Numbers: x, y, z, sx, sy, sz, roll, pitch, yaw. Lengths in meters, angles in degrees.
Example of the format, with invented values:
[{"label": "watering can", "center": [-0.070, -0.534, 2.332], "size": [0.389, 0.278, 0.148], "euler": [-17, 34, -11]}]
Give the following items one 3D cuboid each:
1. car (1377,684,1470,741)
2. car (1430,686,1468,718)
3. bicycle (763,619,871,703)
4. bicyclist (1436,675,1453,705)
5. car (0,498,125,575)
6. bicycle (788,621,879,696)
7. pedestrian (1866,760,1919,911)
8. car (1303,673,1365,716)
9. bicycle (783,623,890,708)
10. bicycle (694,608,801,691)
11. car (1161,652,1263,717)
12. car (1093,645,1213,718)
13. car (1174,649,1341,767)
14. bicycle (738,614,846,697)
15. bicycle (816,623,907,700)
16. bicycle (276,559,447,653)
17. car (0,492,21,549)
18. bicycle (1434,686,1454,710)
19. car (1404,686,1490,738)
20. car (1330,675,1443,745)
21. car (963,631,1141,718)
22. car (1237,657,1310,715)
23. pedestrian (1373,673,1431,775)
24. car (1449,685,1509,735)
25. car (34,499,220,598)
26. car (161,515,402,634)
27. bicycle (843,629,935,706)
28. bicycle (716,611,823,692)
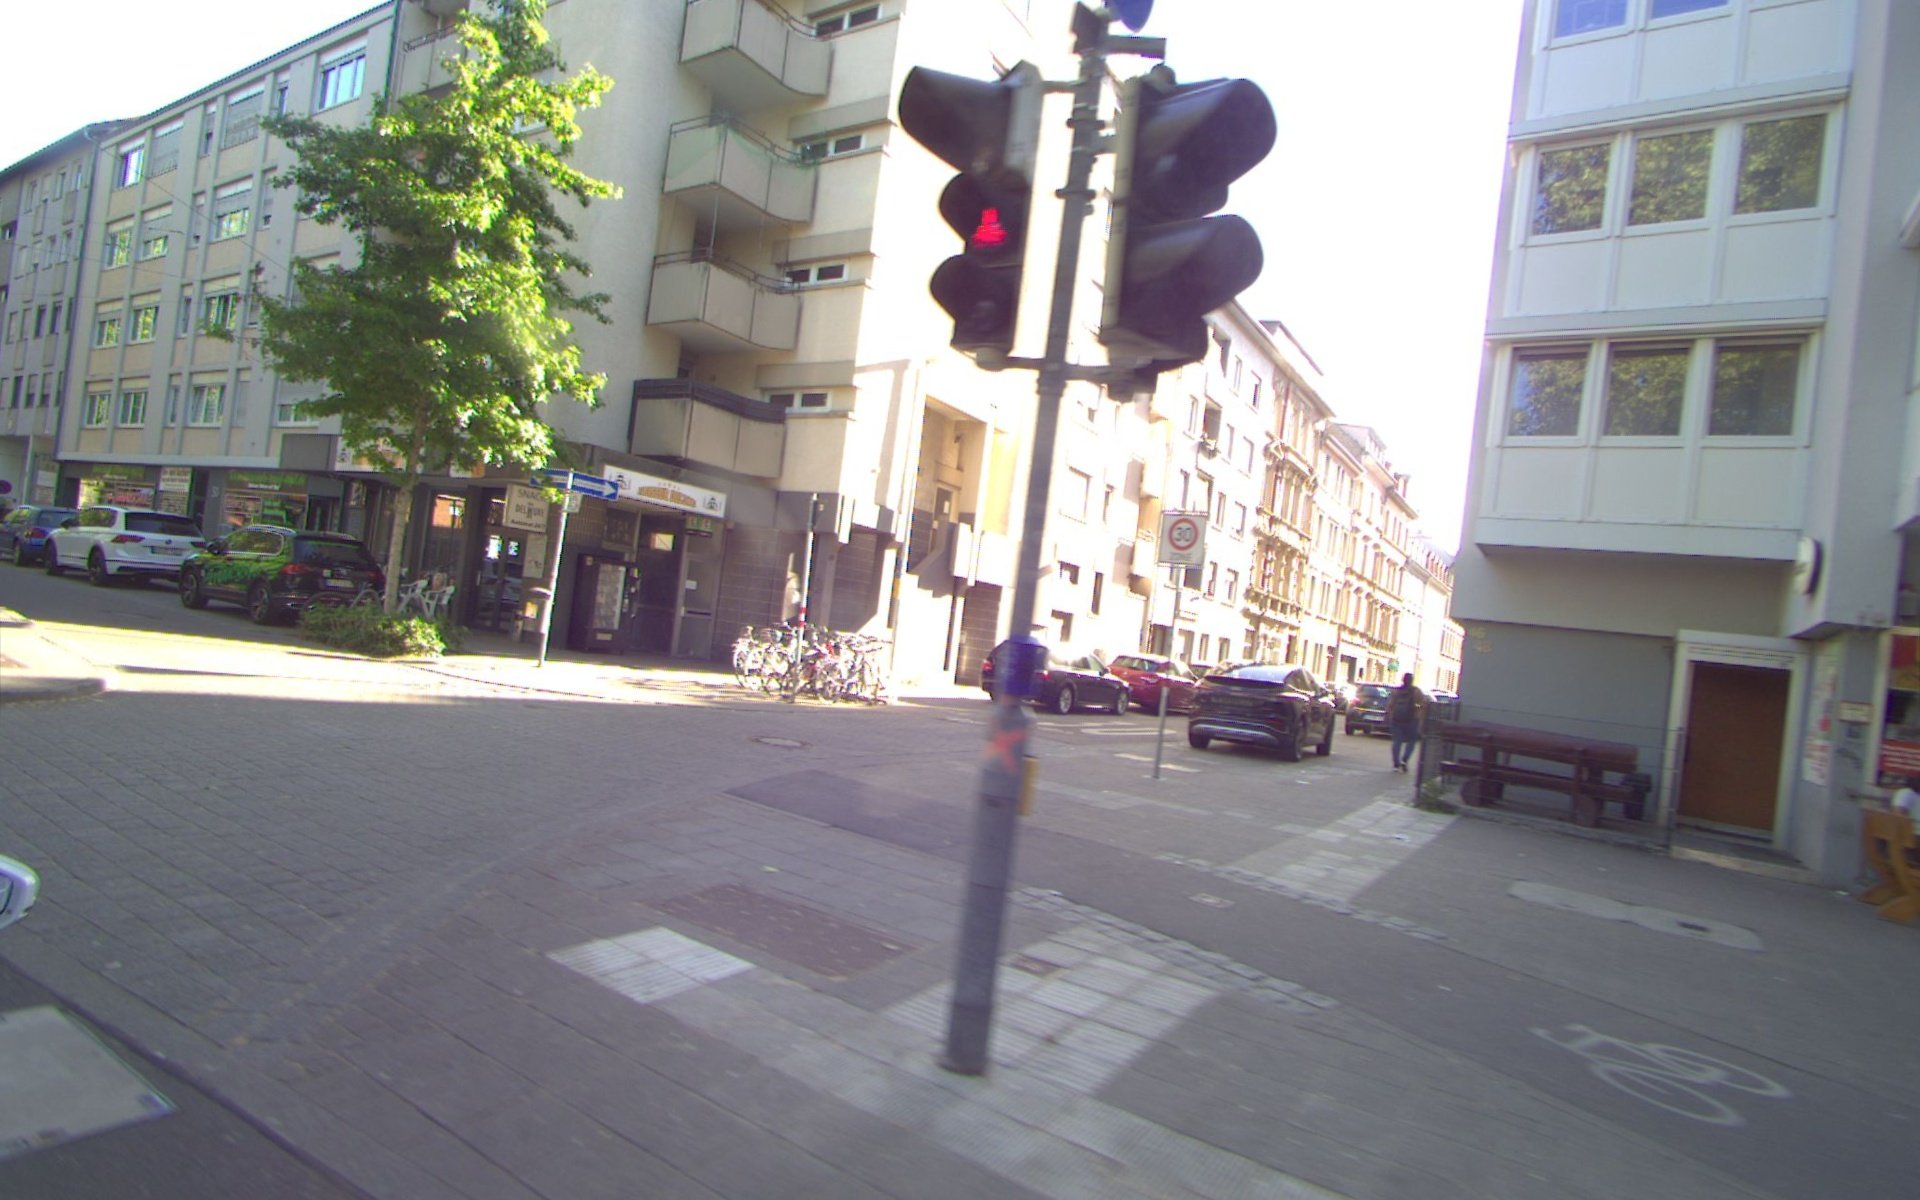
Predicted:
[{"label": "car", "center": [14.947, 3.644, 32.333], "size": [1.836, 1.434, 3.990], "euler": [6, -3, 37]}, {"label": "car", "center": [36.666, 7.637, 75.374], "size": [1.967, 2.036, 3.996], "euler": [6, -3, 32]}, {"label": "bicycle", "center": [-2.257, 1.002, 16.106], "size": [0.502, 1.222, 1.918], "euler": [8, 0, 30]}, {"label": "bicyclist", "center": [28.850, 5.376, 59.884], "size": [0.670, 1.683, 0.795], "euler": [6, -2, 32]}, {"label": "car", "center": [-22.512, -1.601, 24.793], "size": [4.179, 1.456, 1.747], "euler": [6, -3, 34]}, {"label": "bicycle", "center": [-2.316, 1.107, 18.620], "size": [0.502, 1.221, 1.919], "euler": [6, -3, 30]}, {"label": "pedestrian", "center": [8.872, 2.174, 9.201], "size": [0.704, 1.302, 0.536], "euler": [6, -2, 35]}, {"label": "car", "center": [17.572, 4.446, 47.158], "size": [1.862, 1.658, 3.996], "euler": [6, -3, 32]}, {"label": "bicycle", "center": [-1.917, 1.055, 15.906], "size": [0.502, 1.222, 1.918], "euler": [8, 0, 30]}, {"label": "bicycle", "center": [-3.572, 0.870, 17.064], "size": [0.502, 1.221, 1.919], "euler": [6, -3, 30]}, {"label": "car", "center": [7.929, 2.684, 31.379], "size": [1.806, 1.640, 4.069], "euler": [6, -3, 32]}, {"label": "car", "center": [5.236, 2.215, 26.904], "size": [1.679, 1.526, 3.996], "euler": [8, -2, 32]}, {"label": "car", "center": [5.347, 1.883, 17.675], "size": [1.933, 1.610, 4.262], "euler": [5, -3, 27]}, {"label": "bicycle", "center": [-2.701, 0.931, 16.379], "size": [0.502, 1.222, 1.918], "euler": [7, -1, 30]}, {"label": "bicycle", "center": [-1.756, 1.146, 18.287], "size": [0.502, 1.221, 1.919], "euler": [6, -3, 30]}, {"label": "bicycle", "center": [-9.517, 0.121, 16.081], "size": [0.672, 1.201, 2.125], "euler": [6, -3, 41]}, {"label": "car", "center": [-30.740, -2.637, 30.809], "size": [4.327, 1.634, 1.860], "euler": [6, -3, 34]}, {"label": "bicycle", "center": [28.797, 5.831, 59.873], "size": [0.698, 1.246, 2.319], "euler": [6, -3, 32]}, {"label": "car", "center": [17.720, 4.085, 36.514], "size": [1.970, 1.466, 3.990], "euler": [6, -3, 37]}, {"label": "car", "center": [12.103, 3.112, 28.396], "size": [1.935, 1.573, 3.989], "euler": [6, -2, 37]}, {"label": "car", "center": [2.181, 1.701, 22.564], "size": [1.841, 1.496, 4.589], "euler": [9, 0, 34]}, {"label": "car", "center": [11.806, 3.260, 37.778], "size": [1.694, 1.836, 3.561], "euler": [6, -3, 31]}, {"label": "pedestrian", "center": [7.247, 2.029, 16.490], "size": [0.635, 1.579, 0.551], "euler": [5, -3, 38]}, {"label": "car", "center": [24.546, 5.221, 47.505], "size": [1.713, 1.968, 4.216], "euler": [6, -3, 37]}, {"label": "car", "center": [-18.006, -1.139, 21.703], "size": [4.344, 1.624, 1.802], "euler": [6, -3, 34]}, {"label": "car", "center": [-12.209, -0.477, 18.018], "size": [4.374, 1.635, 1.995], "euler": [6, 0, 34]}, {"label": "bicycle", "center": [-1.240, 1.231, 17.987], "size": [0.502, 1.221, 1.919], "euler": [8, -1, 30]}, {"label": "bicycle", "center": [-3.130, 0.890, 16.721], "size": [0.502, 1.222, 1.918], "euler": [7, -1, 30]}]
